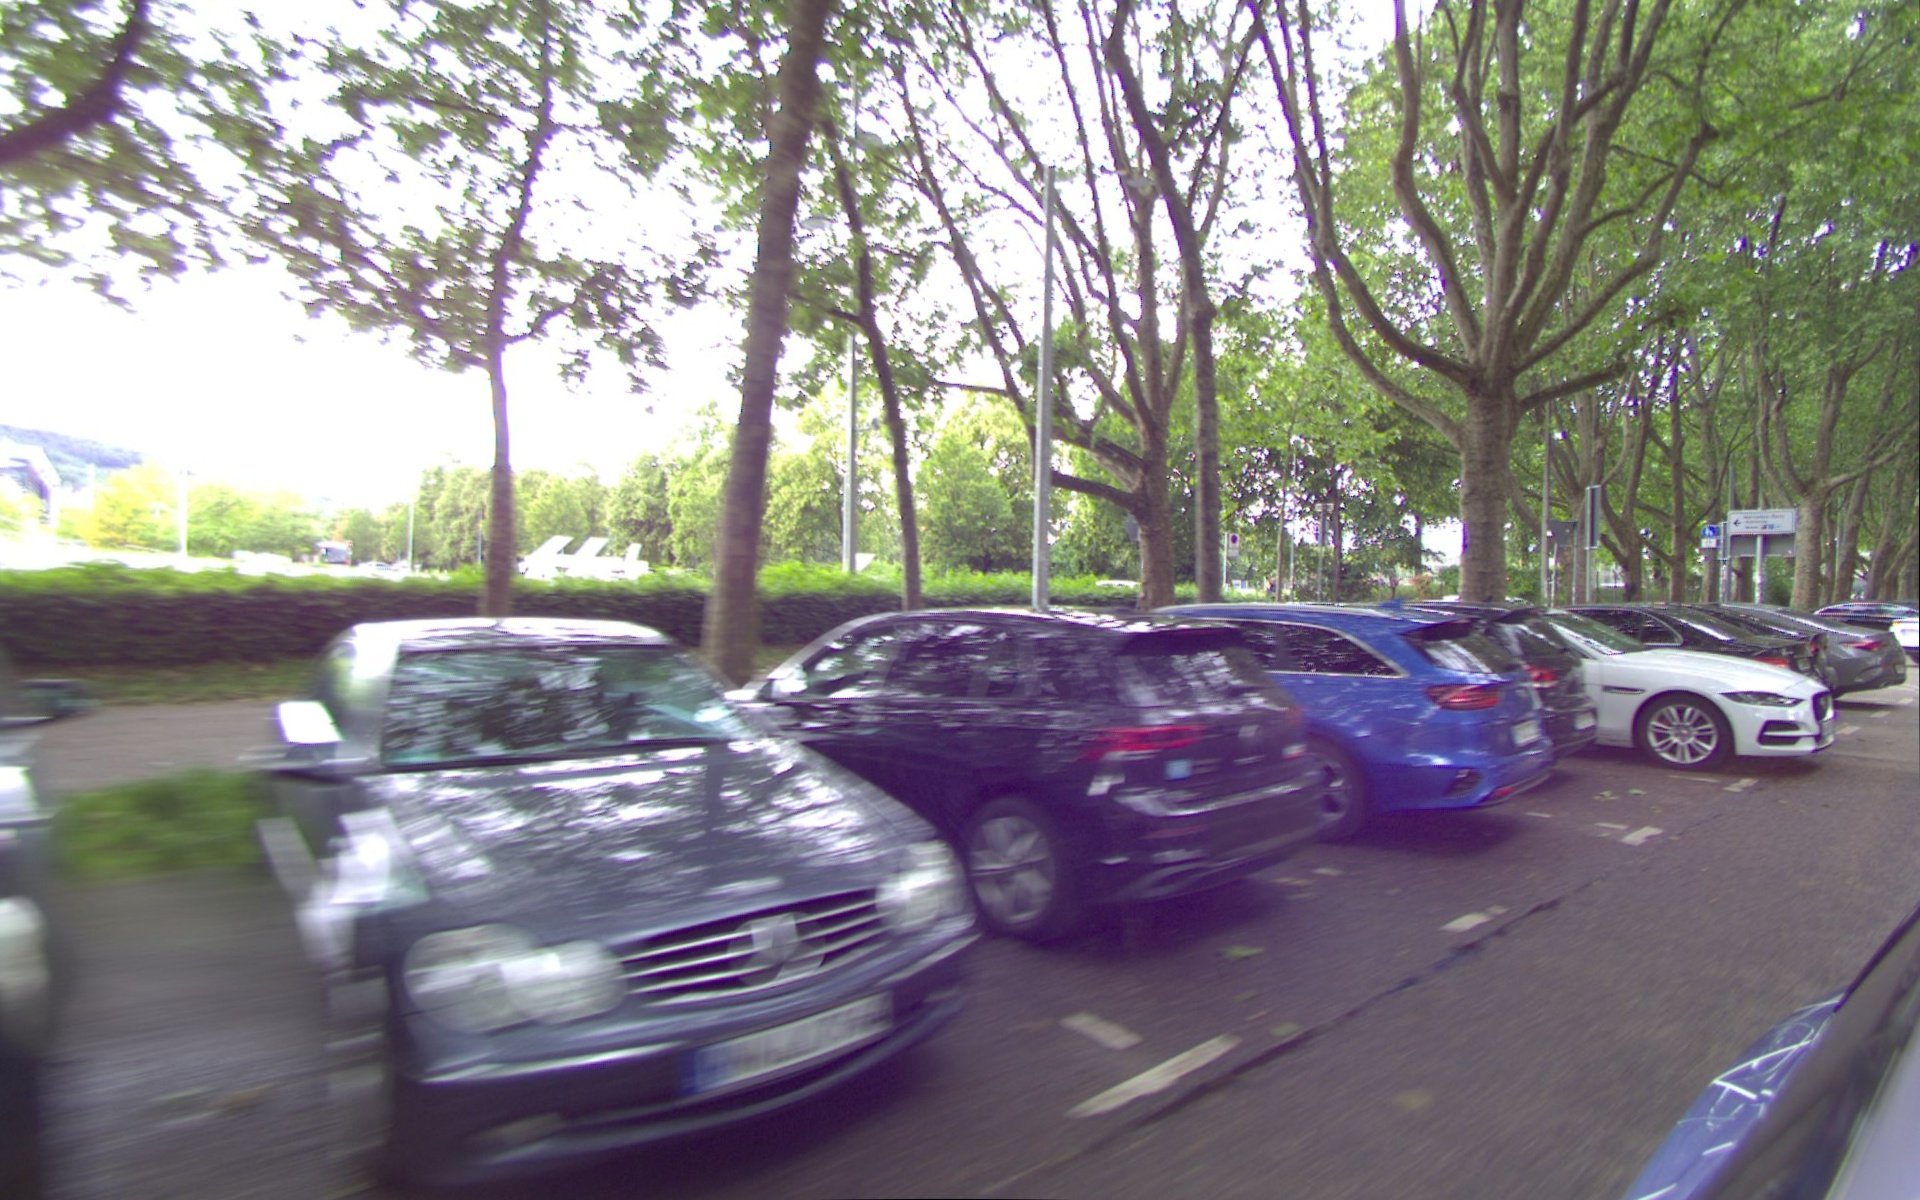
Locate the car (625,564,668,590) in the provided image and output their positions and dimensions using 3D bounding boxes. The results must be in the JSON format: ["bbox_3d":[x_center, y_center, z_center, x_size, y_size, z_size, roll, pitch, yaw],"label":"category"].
[{"bbox_3d":[-24.928,-1.836,80.354,1.964,2.039,3.996,-1,1,-39],"label":"car"}]

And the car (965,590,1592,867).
[{"bbox_3d":[2.119,0.680,7.458,4.016,1.466,1.883,0,0,45],"label":"car"}]

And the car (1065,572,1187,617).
[{"bbox_3d":[6.044,-0.235,37.238,1.754,1.480,4.284,0,2,-42],"label":"car"}]

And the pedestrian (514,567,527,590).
[{"bbox_3d":[-32.294,-1.587,74.357,0.722,1.664,0.687,0,1,43],"label":"pedestrian"}]

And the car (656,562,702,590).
[{"bbox_3d":[-21.109,-1.761,75.949,1.964,2.039,3.996,-1,1,-39],"label":"car"}]

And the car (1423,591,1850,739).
[{"bbox_3d":[7.706,0.619,11.822,1.688,1.435,3.838,1,0,-39],"label":"car"}]

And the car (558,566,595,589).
[{"bbox_3d":[-33.838,-1.986,89.277,1.964,2.039,3.996,-1,1,-39],"label":"car"}]

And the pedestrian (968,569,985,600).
[{"bbox_3d":[0.915,-0.867,56.139,0.685,1.664,0.725,0,1,-34],"label":"pedestrian"}]

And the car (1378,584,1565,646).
[{"bbox_3d":[14.110,0.364,28.103,1.754,1.480,4.284,0,2,-42],"label":"car"}]

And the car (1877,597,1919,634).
[{"bbox_3d":[40.688,0.619,41.183,1.962,1.542,4.679,0,-1,-34],"label":"car"}]

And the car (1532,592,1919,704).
[{"bbox_3d":[11.494,0.606,15.381,1.686,1.435,4.600,1,0,-37],"label":"car"}]

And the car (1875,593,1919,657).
[{"bbox_3d":[23.187,0.517,21.938,4.598,1.401,1.996,-1,-1,6],"label":"car"}]

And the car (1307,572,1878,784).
[{"bbox_3d":[6.112,0.595,10.274,2.017,1.644,4.533,1,0,-39],"label":"car"}]

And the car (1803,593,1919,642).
[{"bbox_3d":[30.412,0.547,32.942,1.966,1.496,4.378,-1,1,-42],"label":"car"}]

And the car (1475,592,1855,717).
[{"bbox_3d":[9.463,0.618,13.782,4.018,1.435,1.880,1,0,45],"label":"car"}]

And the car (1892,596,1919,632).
[{"bbox_3d":[42.539,0.575,42.487,1.962,1.542,4.678,0,-1,-35],"label":"car"}]

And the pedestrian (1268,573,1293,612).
[{"bbox_3d":[13.251,-0.328,41.885,0.685,1.587,0.725,0,1,-34],"label":"pedestrian"}]

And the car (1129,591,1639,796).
[{"bbox_3d":[3.673,0.669,9.372,1.752,1.466,4.024,1,0,-39],"label":"car"}]

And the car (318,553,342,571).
[{"bbox_3d":[-73.783,-4.396,118.531,1.964,2.039,3.997,-1,1,-38],"label":"car"}]

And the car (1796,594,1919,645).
[{"bbox_3d":[29.112,0.580,31.250,1.966,1.525,4.825,0,-1,-42],"label":"car"}]

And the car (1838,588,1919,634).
[{"bbox_3d":[32.956,0.366,34.255,1.966,1.542,4.669,0,-1,-42],"label":"car"}]

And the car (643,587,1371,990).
[{"bbox_3d":[-0.059,0.691,5.862,1.755,1.474,4.200,1,0,-43],"label":"car"}]

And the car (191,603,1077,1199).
[{"bbox_3d":[-1.703,0.761,4.039,1.755,1.474,4.200,1,0,-43],"label":"car"}]

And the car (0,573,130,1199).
[{"bbox_3d":[-3.754,0.710,2.980,1.755,1.538,4.200,1,0,-43],"label":"car"}]
